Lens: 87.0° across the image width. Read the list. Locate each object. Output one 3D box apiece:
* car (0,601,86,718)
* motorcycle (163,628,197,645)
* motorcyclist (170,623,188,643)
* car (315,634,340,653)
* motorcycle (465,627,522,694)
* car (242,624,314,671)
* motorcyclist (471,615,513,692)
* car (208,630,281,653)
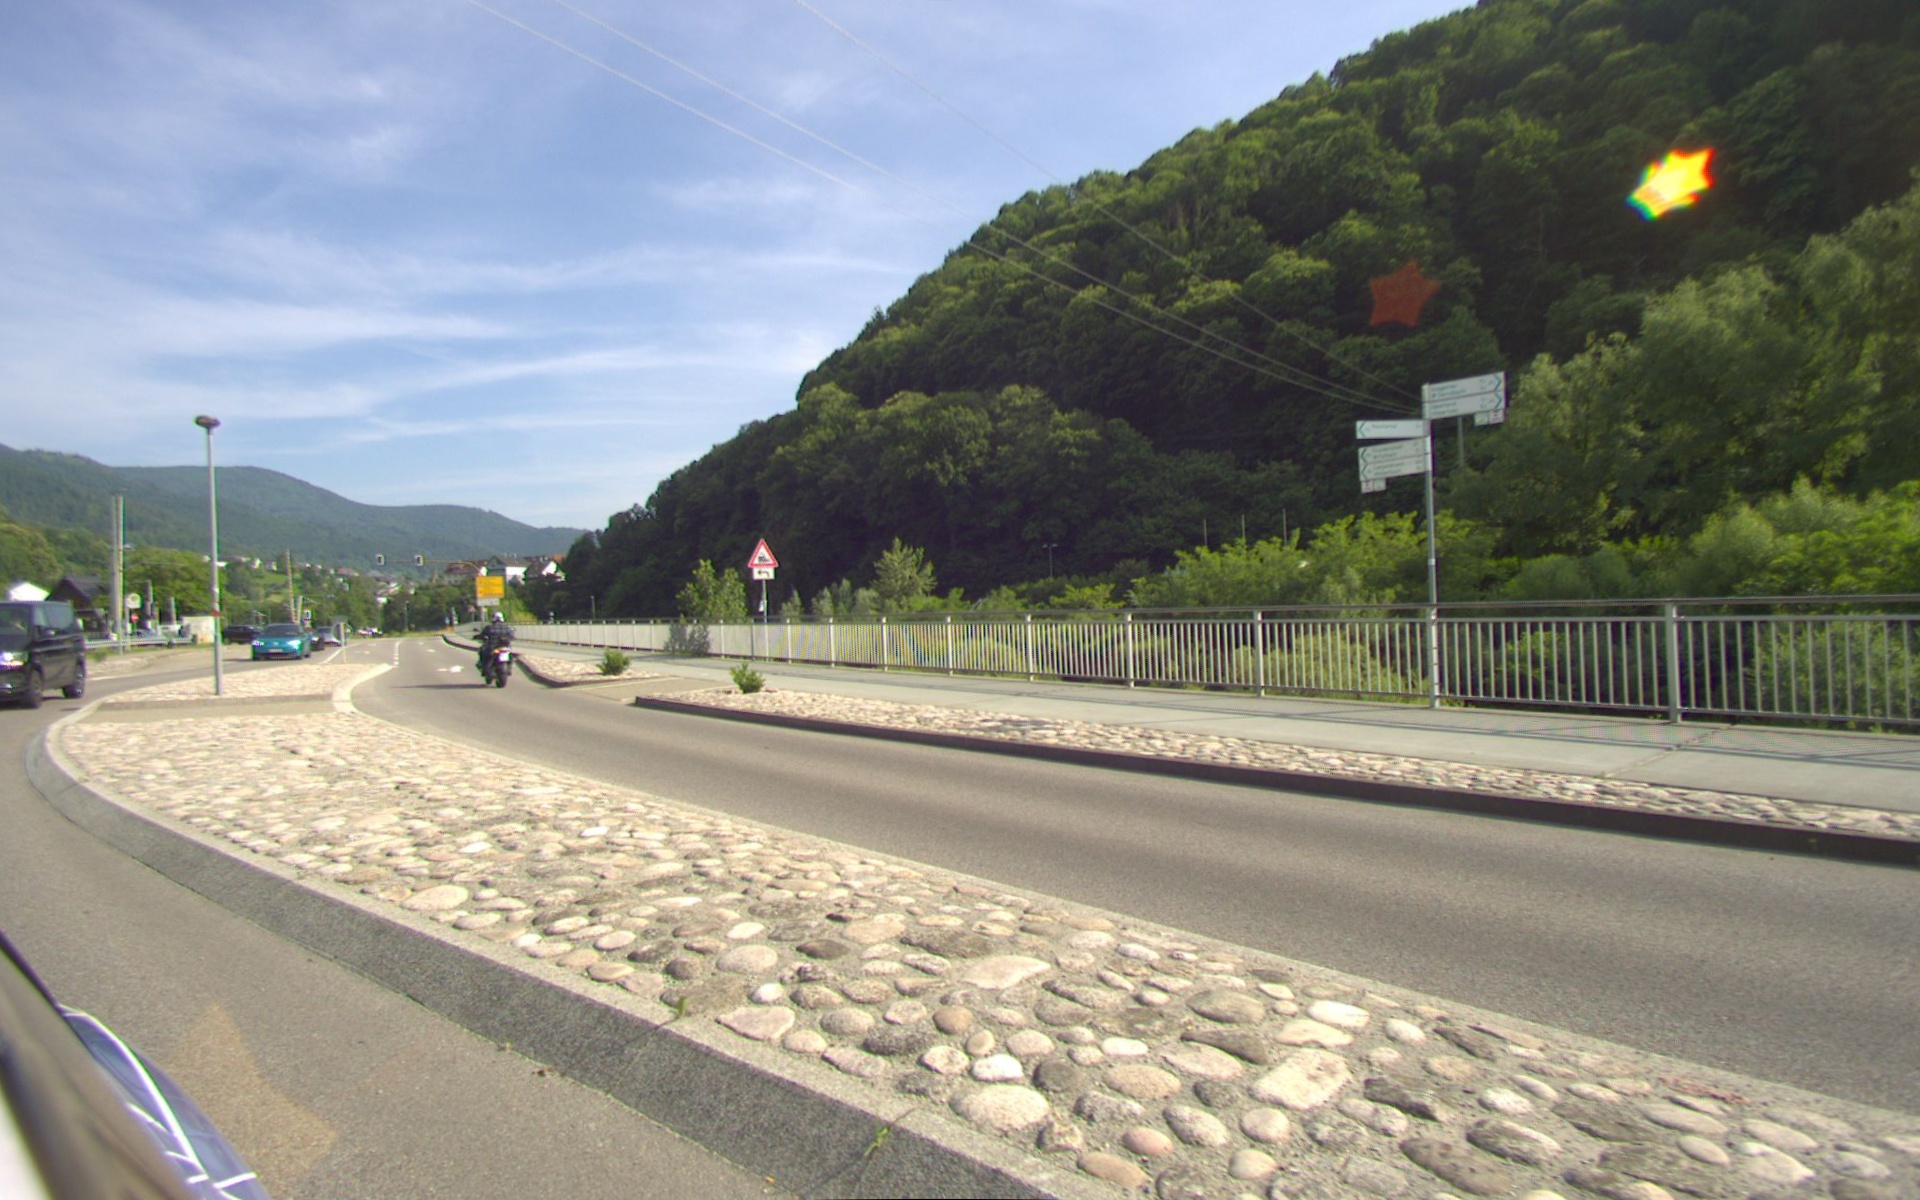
[{"bbox_3d":[-17.798,1.015,18.559,1.835,1.962,4.652,1,-1,-31],"label":"car"},{"bbox_3d":[-64.707,3.035,83.961,2.066,1.264,0.801,-3,-1,-10],"label":"motorcycle"},{"bbox_3d":[-64.775,2.734,83.973,0.894,1.609,0.767,-3,-1,-11],"label":"motorcyclist"},{"bbox_3d":[-45.017,3.109,72.031,1.283,1.233,2.936,-3,-1,-28],"label":"car"},{"bbox_3d":[-10.640,1.335,23.033,0.762,1.433,2.324,-1,-1,-35],"label":"motorcycle"},{"bbox_3d":[-29.409,1.989,43.772,1.852,1.751,4.530,-1,1,-25],"label":"car"},{"bbox_3d":[-10.697,1.204,23.130,0.752,1.690,0.729,-1,0,-35],"label":"motorcyclist"},{"bbox_3d":[-59.294,3.435,83.915,4.679,1.672,1.928,-1,-6,3],"label":"car"}]
